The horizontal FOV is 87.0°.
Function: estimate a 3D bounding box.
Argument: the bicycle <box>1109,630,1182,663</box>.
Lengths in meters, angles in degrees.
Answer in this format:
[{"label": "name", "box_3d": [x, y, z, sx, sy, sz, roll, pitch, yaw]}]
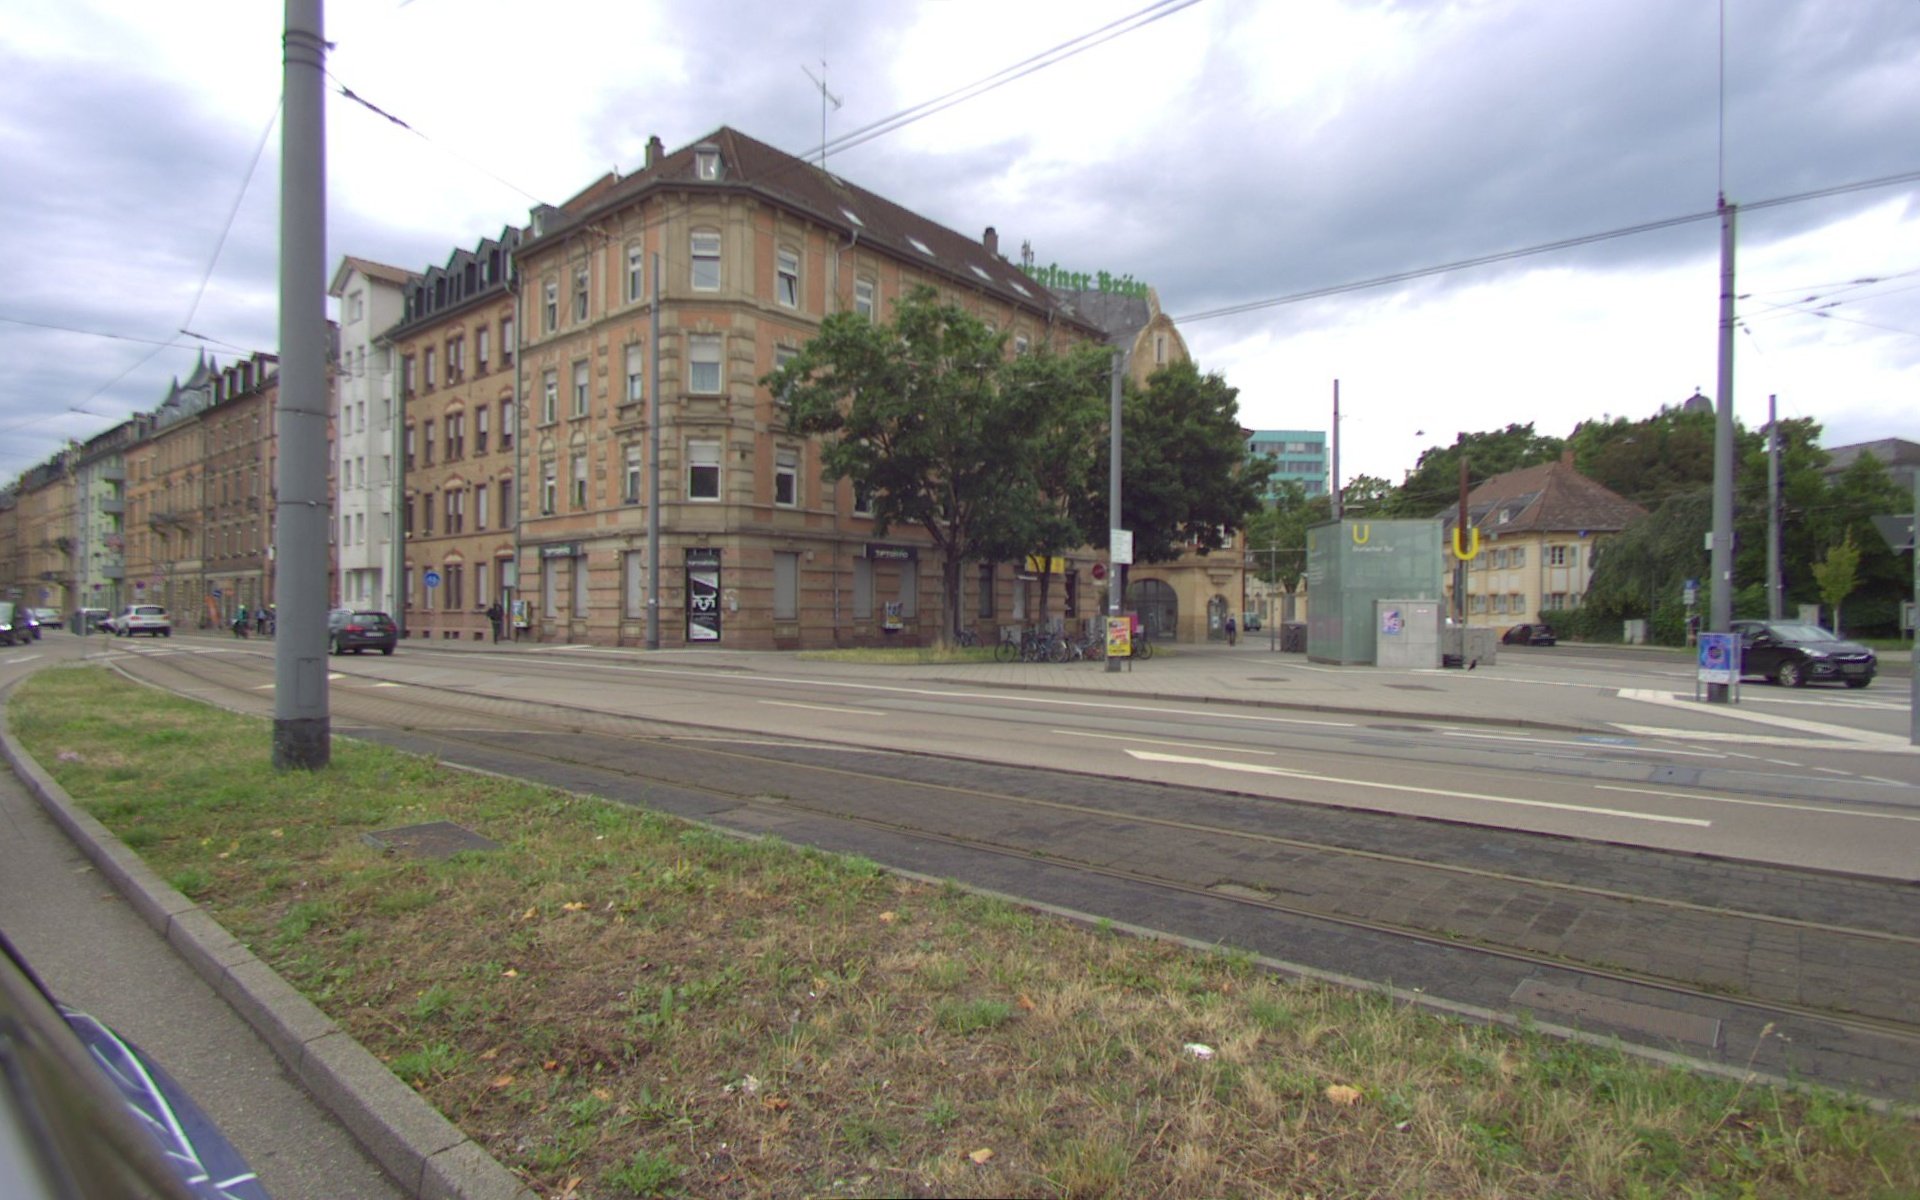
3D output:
[{"label": "bicycle", "box_3d": [6.272, 1.566, 34.258, 2.395, 1.038, 0.744, -1, -1, 41]}]

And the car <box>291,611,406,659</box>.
[{"label": "car", "box_3d": [-20.284, 1.122, 33.521, 4.459, 1.481, 1.865, 0, -1, 39]}]

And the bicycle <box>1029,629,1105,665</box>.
[{"label": "bicycle", "box_3d": [3.325, 1.444, 31.587, 2.395, 1.038, 0.744, -1, -1, 41]}]

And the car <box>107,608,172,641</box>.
[{"label": "car", "box_3d": [-43.101, 1.252, 53.141, 4.226, 1.657, 1.812, 0, -1, 39]}]

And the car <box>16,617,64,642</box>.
[{"label": "car", "box_3d": [-65.583, 2.101, 72.131, 4.229, 1.715, 1.873, 0, -1, 39]}]

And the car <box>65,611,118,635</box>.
[{"label": "car", "box_3d": [-52.805, 1.387, 61.514, 4.013, 1.442, 1.792, 0, -1, 39]}]

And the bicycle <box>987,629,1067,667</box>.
[{"label": "bicycle", "box_3d": [1.972, 1.410, 30.110, 2.395, 1.038, 0.826, -1, -1, 41]}]

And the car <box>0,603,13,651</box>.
[{"label": "car", "box_3d": [-38.096, 1.008, 38.802, 5.131, 1.768, 2.340, -1, -1, 44]}]

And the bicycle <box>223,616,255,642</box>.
[{"label": "bicycle", "box_3d": [-36.856, 1.476, 51.751, 2.410, 1.302, 0.788, -1, -1, 41]}]

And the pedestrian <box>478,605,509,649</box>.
[{"label": "pedestrian", "box_3d": [-18.164, 1.043, 39.412, 0.797, 1.688, 0.802, -1, -1, 37]}]

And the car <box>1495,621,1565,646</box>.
[{"label": "car", "box_3d": [35.111, 2.047, 62.480, 1.971, 1.442, 4.001, 0, -1, -2]}]

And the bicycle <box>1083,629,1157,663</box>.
[{"label": "bicycle", "box_3d": [5.275, 1.503, 33.455, 2.395, 1.038, 0.744, -1, -1, 41]}]

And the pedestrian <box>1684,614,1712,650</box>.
[{"label": "pedestrian", "box_3d": [38.301, 1.655, 52.512, 0.797, 1.846, 0.851, 0, -1, -9]}]

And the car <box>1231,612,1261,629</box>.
[{"label": "car", "box_3d": [31.106, 2.248, 110.119, 1.971, 1.863, 4.001, 0, -1, -2]}]

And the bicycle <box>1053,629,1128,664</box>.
[{"label": "bicycle", "box_3d": [4.146, 1.465, 32.310, 2.395, 1.038, 0.744, -1, -1, 41]}]

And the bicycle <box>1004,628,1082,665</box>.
[{"label": "bicycle", "box_3d": [2.500, 1.386, 30.698, 2.395, 1.038, 0.744, -1, -1, 41]}]

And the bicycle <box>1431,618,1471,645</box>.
[{"label": "bicycle", "box_3d": [32.725, 2.088, 67.567, 1.070, 1.763, 3.087, 0, -1, -2]}]

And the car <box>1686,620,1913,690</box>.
[{"label": "car", "box_3d": [21.134, 1.324, 25.750, 1.969, 1.623, 4.250, 0, -1, -6]}]

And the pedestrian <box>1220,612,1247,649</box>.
[{"label": "pedestrian", "box_3d": [14.559, 1.619, 53.865, 1.083, 1.911, 1.139, 0, -1, 34]}]

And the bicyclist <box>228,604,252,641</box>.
[{"label": "bicyclist", "box_3d": [-36.729, 1.149, 51.623, 0.923, 1.881, 0.813, -1, -1, 41]}]
